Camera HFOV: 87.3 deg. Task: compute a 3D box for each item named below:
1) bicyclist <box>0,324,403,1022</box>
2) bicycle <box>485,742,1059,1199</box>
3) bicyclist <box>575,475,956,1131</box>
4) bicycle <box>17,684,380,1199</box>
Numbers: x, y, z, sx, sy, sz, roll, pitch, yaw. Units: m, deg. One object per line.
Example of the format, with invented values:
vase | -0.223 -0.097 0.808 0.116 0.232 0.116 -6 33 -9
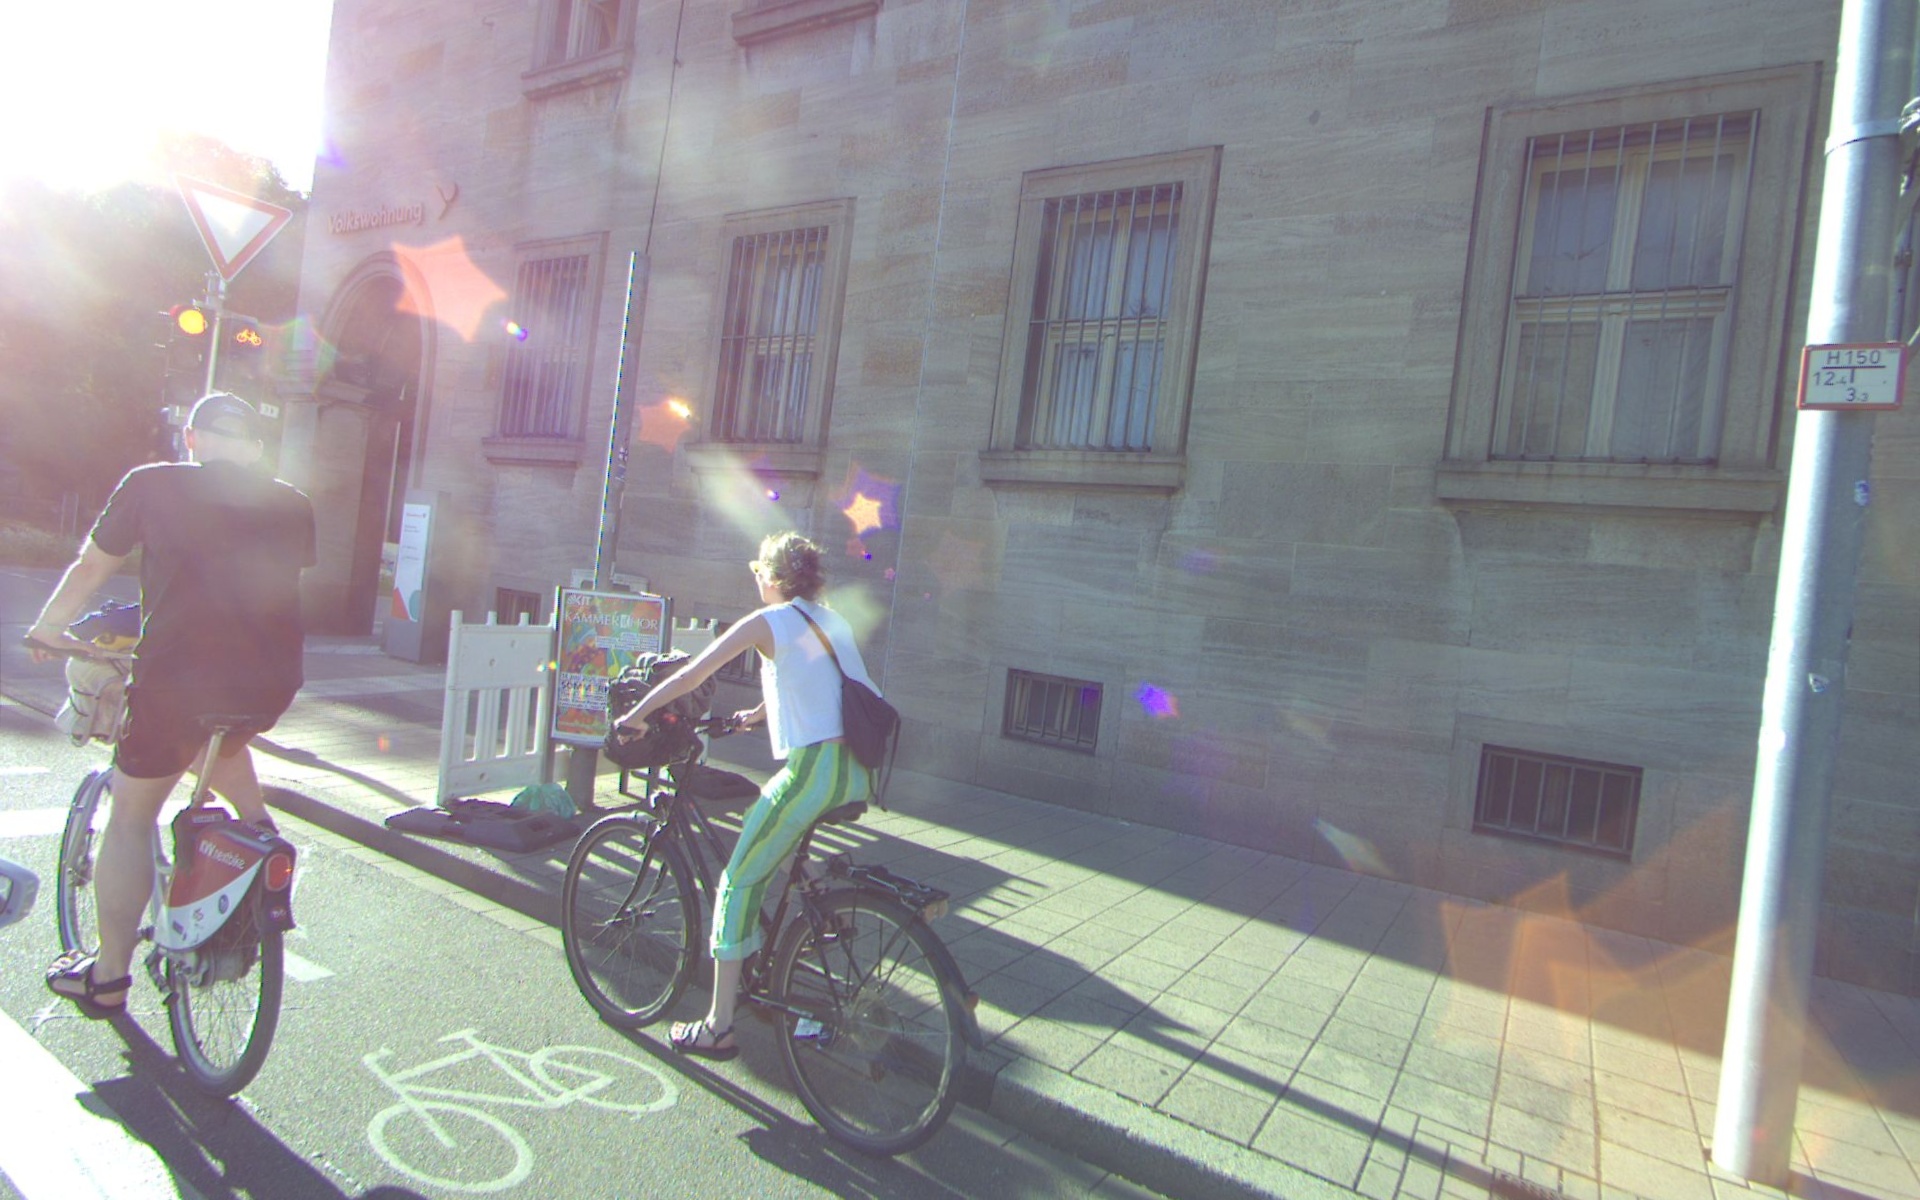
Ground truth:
bicyclist | -2.196 0.177 2.890 0.646 1.698 0.670 7 0 34
bicycle | -0.684 1.053 3.094 1.920 0.887 0.427 7 0 35
bicyclist | -0.601 0.522 3.071 0.845 1.700 0.522 7 1 35
bicycle | -2.333 0.844 2.966 1.923 0.916 0.388 7 0 41
